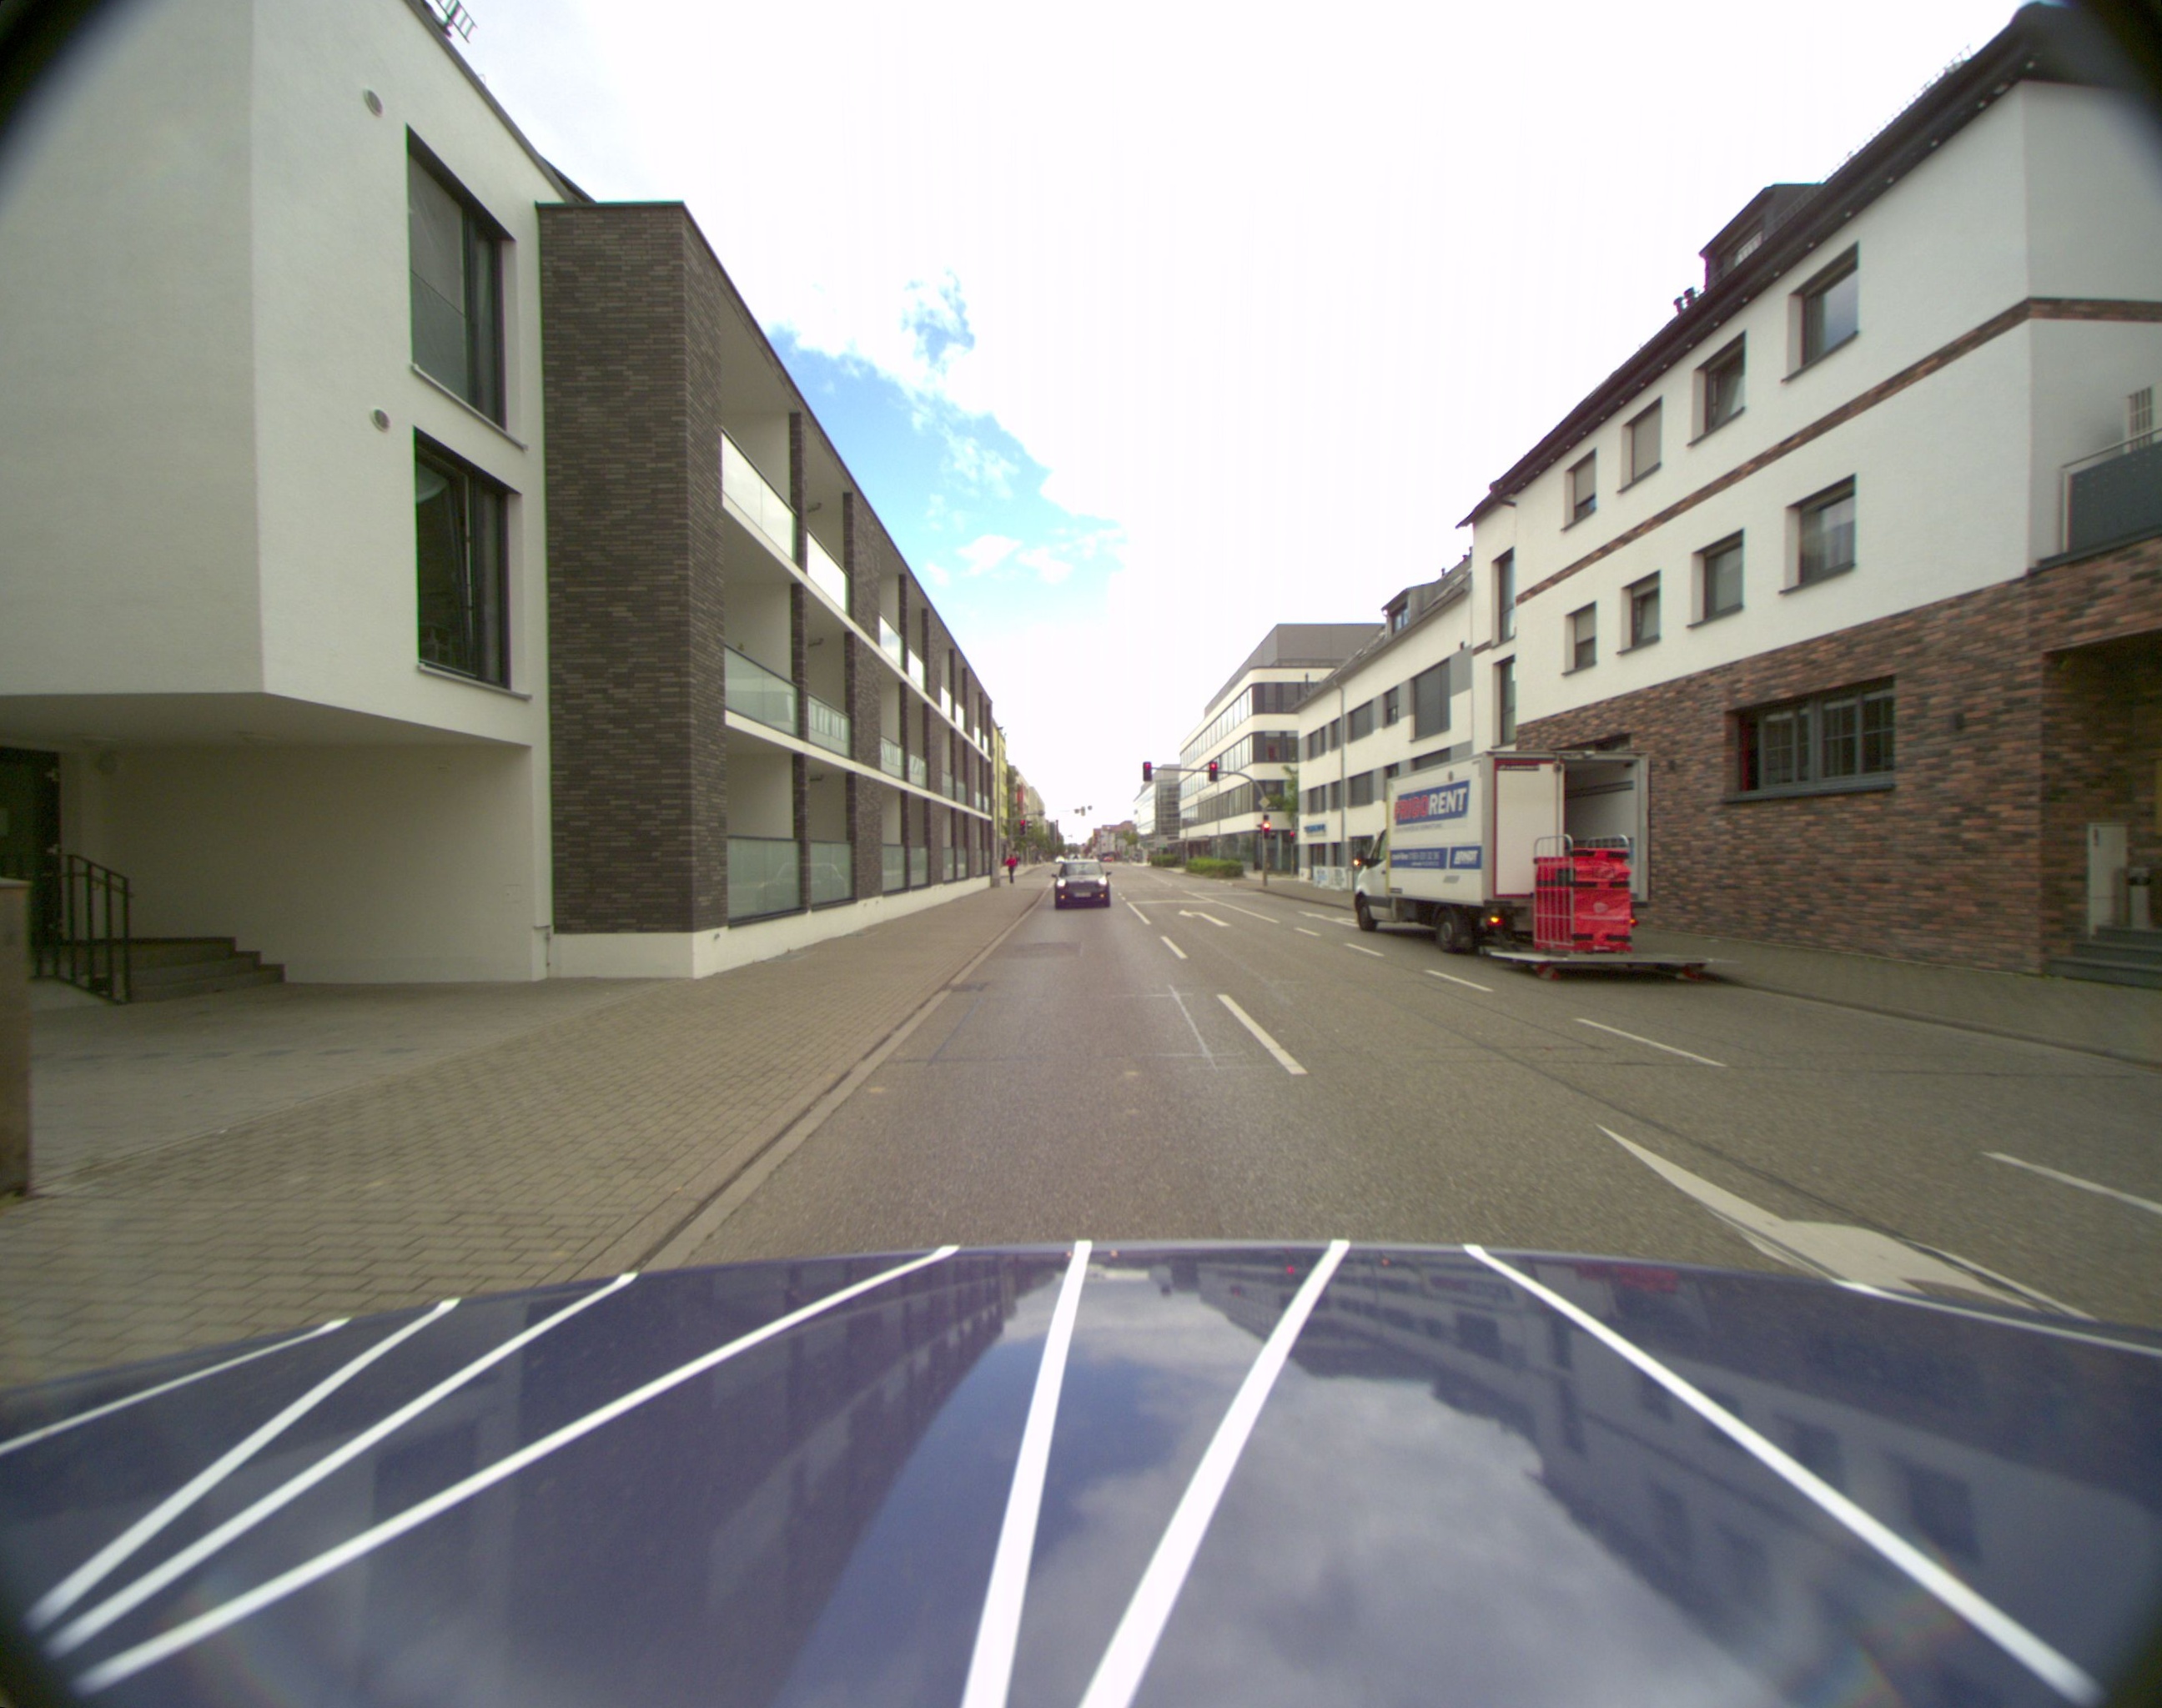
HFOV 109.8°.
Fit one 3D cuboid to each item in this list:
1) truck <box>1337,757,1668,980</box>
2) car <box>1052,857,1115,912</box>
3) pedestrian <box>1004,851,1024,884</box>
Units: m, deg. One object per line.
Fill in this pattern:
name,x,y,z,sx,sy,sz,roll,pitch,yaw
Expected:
truck,6.712,0.194,13.269,2.468,2.954,5.964,-2,0,0
car,0.101,0.952,25.544,1.847,1.571,4.429,-3,0,0
pedestrian,-3.569,0.721,40.594,0.938,1.732,0.901,-1,1,0
